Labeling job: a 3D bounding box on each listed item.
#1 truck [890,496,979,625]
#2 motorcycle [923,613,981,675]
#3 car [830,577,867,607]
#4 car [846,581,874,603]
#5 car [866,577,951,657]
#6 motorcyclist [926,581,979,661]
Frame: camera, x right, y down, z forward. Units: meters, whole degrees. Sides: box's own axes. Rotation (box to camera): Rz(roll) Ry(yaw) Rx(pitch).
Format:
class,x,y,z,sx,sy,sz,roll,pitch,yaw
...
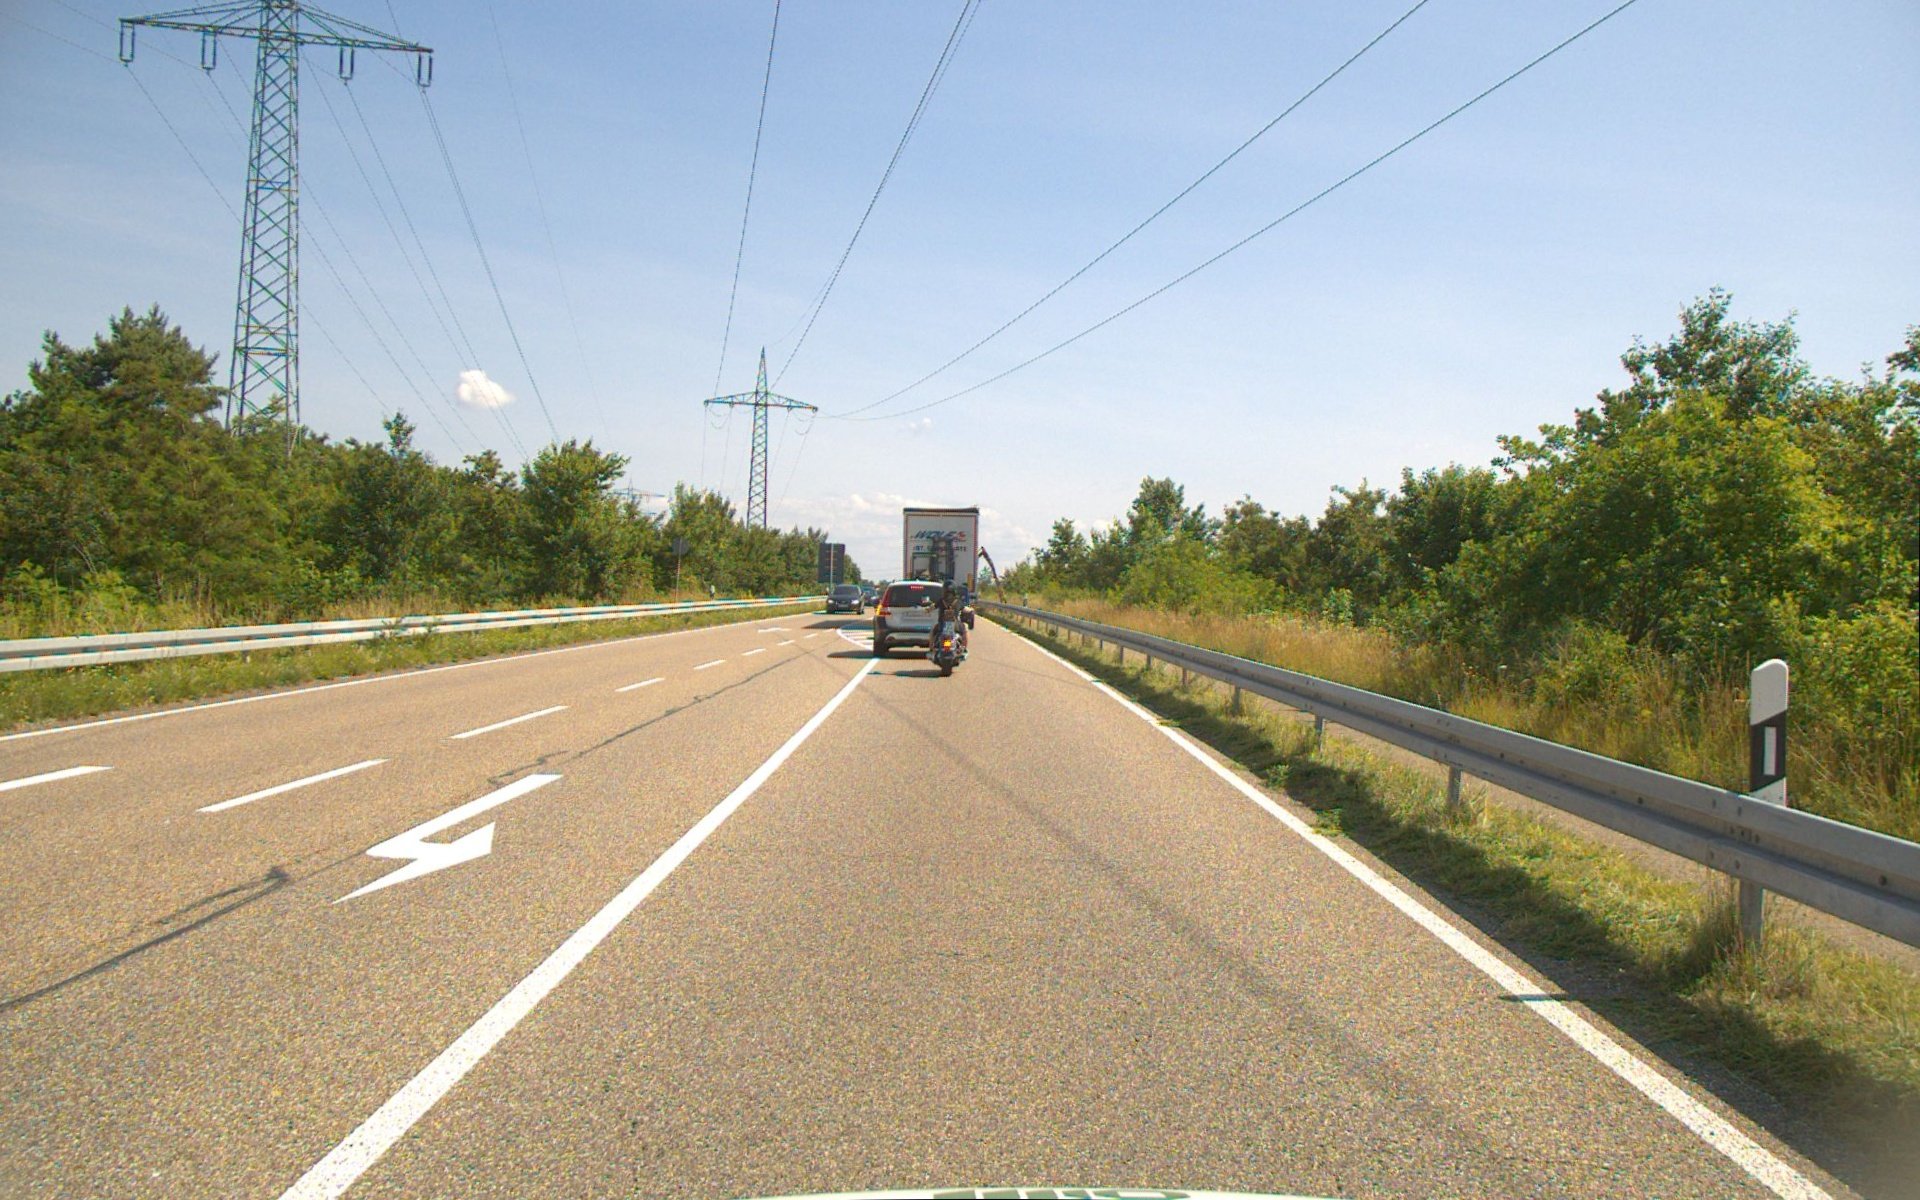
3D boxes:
class,x,y,z,sx,sy,sz,roll,pitch,yaw
truck,-0.826,-1.392,62.634,2.907,4.260,14.822,1,0,0
motorcycle,-0.151,0.713,27.591,0.841,0.931,2.226,1,0,-3
car,-5.771,-0.430,85.917,1.692,1.517,4.422,1,1,-1
car,-6.801,-0.569,113.025,1.626,1.467,4.214,1,1,0
car,-1.087,0.326,34.924,1.666,1.563,3.498,1,0,-2
motorcyclist,-0.138,0.336,27.643,0.820,1.303,0.919,1,0,-3
